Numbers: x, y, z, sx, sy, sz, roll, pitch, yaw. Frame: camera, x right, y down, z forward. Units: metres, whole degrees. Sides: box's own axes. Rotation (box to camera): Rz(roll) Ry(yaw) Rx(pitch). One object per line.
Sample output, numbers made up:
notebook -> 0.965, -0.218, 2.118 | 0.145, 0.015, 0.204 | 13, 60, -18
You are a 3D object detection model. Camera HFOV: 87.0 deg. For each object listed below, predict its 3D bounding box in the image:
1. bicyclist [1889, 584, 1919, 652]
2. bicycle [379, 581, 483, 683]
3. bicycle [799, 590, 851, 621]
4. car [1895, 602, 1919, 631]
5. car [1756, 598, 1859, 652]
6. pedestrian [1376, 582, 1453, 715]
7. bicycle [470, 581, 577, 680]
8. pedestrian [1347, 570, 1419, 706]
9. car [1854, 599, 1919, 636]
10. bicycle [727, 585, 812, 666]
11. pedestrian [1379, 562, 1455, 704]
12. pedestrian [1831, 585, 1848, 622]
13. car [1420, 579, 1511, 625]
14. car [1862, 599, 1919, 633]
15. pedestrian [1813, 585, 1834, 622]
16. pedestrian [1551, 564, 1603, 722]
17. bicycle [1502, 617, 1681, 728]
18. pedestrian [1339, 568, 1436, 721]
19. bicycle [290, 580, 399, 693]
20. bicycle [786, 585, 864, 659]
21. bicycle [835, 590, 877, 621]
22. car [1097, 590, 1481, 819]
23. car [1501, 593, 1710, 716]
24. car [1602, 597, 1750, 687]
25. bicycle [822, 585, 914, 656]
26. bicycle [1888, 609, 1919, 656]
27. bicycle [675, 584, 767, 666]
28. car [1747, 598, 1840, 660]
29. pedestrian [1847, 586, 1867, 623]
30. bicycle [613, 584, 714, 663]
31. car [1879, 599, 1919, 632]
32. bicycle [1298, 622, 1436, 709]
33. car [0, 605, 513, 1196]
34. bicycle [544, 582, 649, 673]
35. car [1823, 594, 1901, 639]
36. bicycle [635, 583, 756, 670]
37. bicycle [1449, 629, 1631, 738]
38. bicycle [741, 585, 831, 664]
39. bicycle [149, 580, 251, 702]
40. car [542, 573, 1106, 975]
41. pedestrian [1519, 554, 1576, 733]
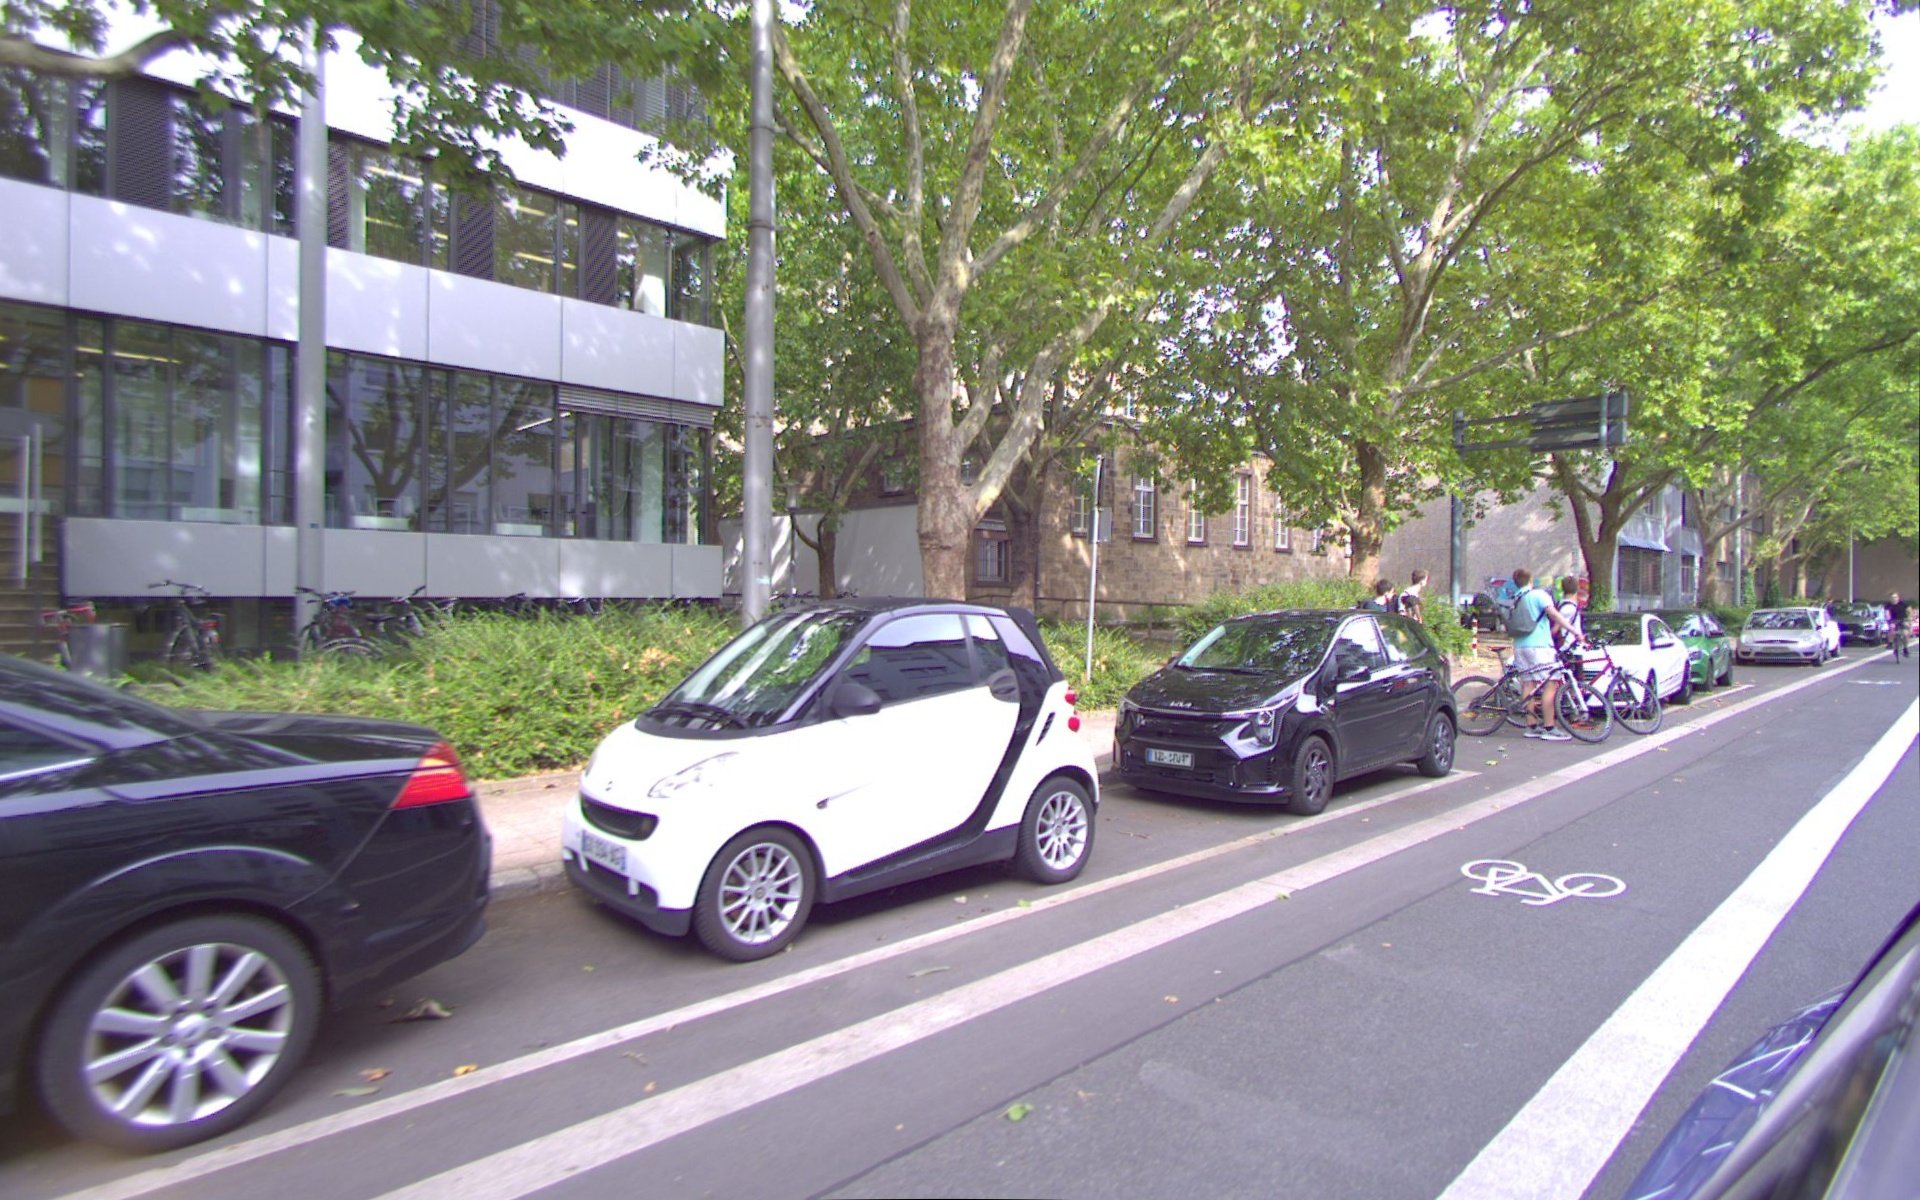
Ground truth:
bicyclist -> 24.661, 0.468, 26.228 | 0.902, 1.730, 0.763 | 0, -1, -43
bicycle -> -6.586, 0.359, 12.542 | 0.662, 1.131, 1.917 | 0, 2, -43
bicycle -> -4.245, 0.171, 31.870 | 1.595, 0.889, 0.478 | -3, 2, -37
car -> 49.441, 0.822, 52.125 | 4.035, 1.465, 1.600 | 0, -1, -43
car -> 24.628, 0.682, 29.371 | 4.146, 1.466, 1.756 | 0, -1, -43
pedestrian -> 5.953, 0.608, 13.261 | 0.644, 1.679, 0.721 | 0, -1, -43
bicycle -> -5.622, 0.351, 12.976 | 0.662, 1.131, 1.917 | 0, 2, -43
pedestrian -> 6.081, 0.529, 14.556 | 0.692, 1.878, 0.721 | 0, -1, -43
car -> 38.531, 0.717, 42.044 | 4.496, 1.451, 1.641 | 0, -1, -43
bicycle -> -2.844, 0.354, 15.056 | 1.376, 1.131, 0.462 | 2, 1, 40
pedestrian -> 6.763, 0.475, 14.987 | 0.737, 2.023, 0.794 | 0, -1, -43
pedestrian -> 44.113, 0.188, 50.753 | 0.519, 1.806, 0.502 | 0, 4, -44
car -> 18.157, 0.091, 36.249 | 4.227, 1.468, 1.669 | 3, -2, -45
car -> 41.588, 0.689, 45.152 | 3.889, 1.441, 1.600 | 0, -1, -43
pedestrian -> 43.788, 0.167, 51.308 | 0.635, 1.855, 0.643 | 0, 4, -44
pedestrian -> 7.608, 0.512, 12.479 | 0.517, 1.869, 0.736 | -1, -1, 32
bicycle -> 7.539, 0.834, 12.169 | 1.780, 1.233, 0.547 | 0, -1, 31
pedestrian -> 5.384, 0.539, 12.751 | 0.767, 1.840, 0.872 | 0, -1, -43
bicycle -> -7.022, 0.369, 11.498 | 0.662, 1.131, 2.082 | 0, 2, -43
bicycle -> -2.223, 0.338, 16.605 | 1.446, 1.131, 0.461 | 2, 1, 45
bicycle -> -3.212, 0.158, 31.292 | 0.499, 0.889, 1.624 | -2, 2, -38
car -> 2.902, 0.697, 8.536 | 3.598, 1.521, 1.529 | 0, -1, -43
car -> 9.591, 0.697, 14.875 | 1.680, 1.535, 4.471 | -2, -2, 44
car -> 13.096, 0.707, 18.427 | 1.587, 1.468, 3.744 | -2, -2, 44
bicycle -> -1.599, 0.330, 17.412 | 1.673, 1.131, 0.595 | 2, 1, 42
bicycle -> 24.739, 0.829, 26.299 | 1.916, 1.183, 0.762 | 0, -1, -43
bicycle -> -3.538, 0.346, 14.929 | 1.372, 1.131, 0.505 | 2, 1, 33
car -> 21.458, 0.699, 25.996 | 1.641, 1.466, 3.823 | -2, -1, 42
pedestrian -> 44.502, 0.205, 50.209 | 0.468, 1.806, 0.591 | 0, 4, -44
bicycle -> -4.455, 0.335, 15.267 | 0.490, 1.131, 1.416 | 2, 1, 41
car -> 45.532, 0.736, 48.653 | 4.365, 1.524, 1.600 | 0, -1, -43
bicycle -> 5.735, 0.895, 14.325 | 1.762, 1.146, 0.456 | 0, -1, 36
car -> -3.607, 0.752, 2.423 | 1.697, 1.443, 4.351 | -1, -1, 44
bicycle -> -5.024, 0.341, 13.908 | 0.662, 1.131, 1.917 | 0, 2, -43
car -> 34.280, 0.609, 38.434 | 4.408, 1.642, 1.921 | 0, -1, -45
bicycle -> -3.754, 0.347, 14.322 | 1.684, 1.131, 0.617 | 2, 1, 29
bicycle -> 6.518, 0.902, 11.417 | 1.730, 1.119, 0.545 | 0, -1, 37
bicycle -> -2.683, 0.349, 15.527 | 1.537, 1.131, 0.462 | 2, 1, 40
bicycle -> -7.993, 0.381, 10.612 | 0.662, 1.131, 1.917 | 0, 2, -43
car -> -0.658, 0.680, 5.369 | 2.553, 1.563, 1.538 | 0, -1, -40
pedestrian -> 6.727, 0.479, 11.578 | 0.473, 1.959, 0.735 | -1, -1, 36
